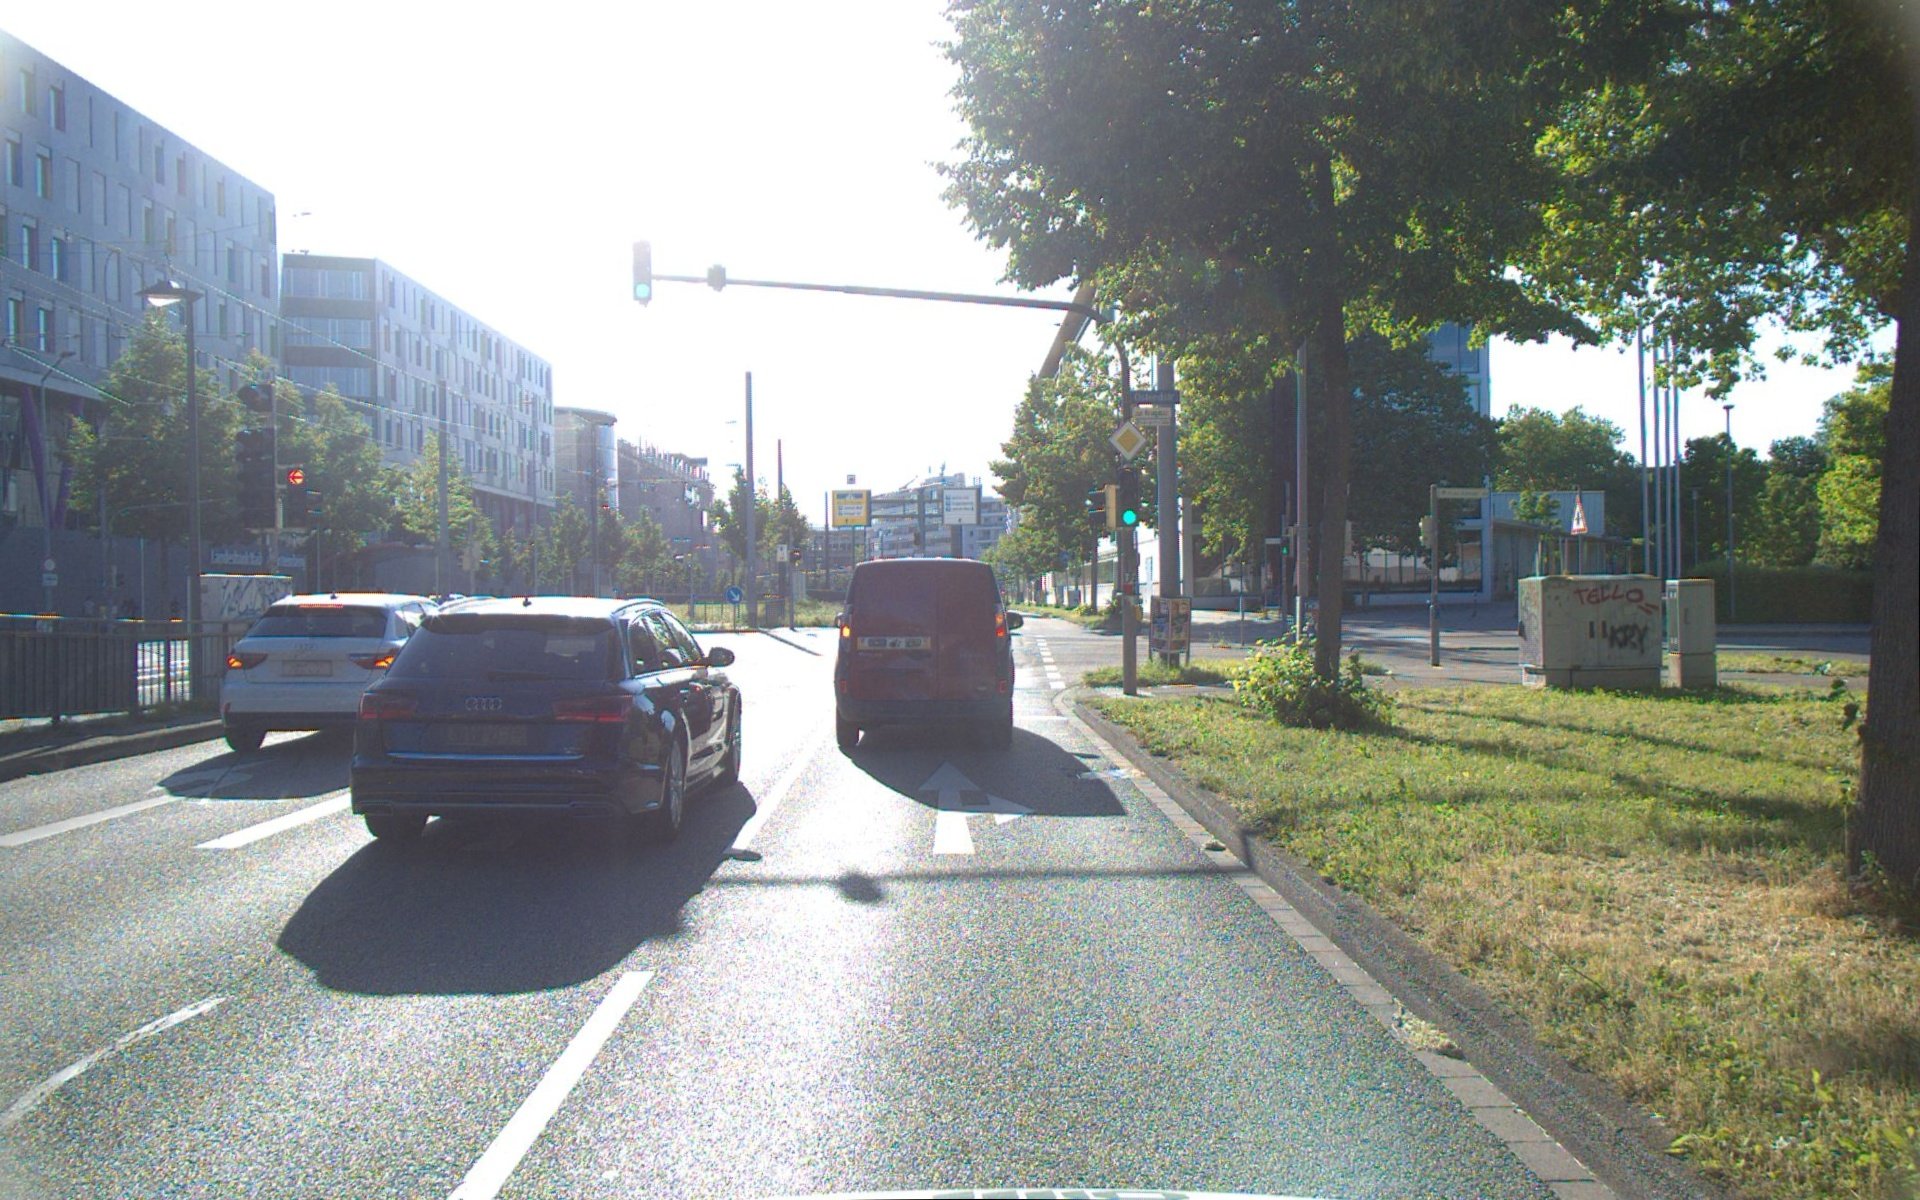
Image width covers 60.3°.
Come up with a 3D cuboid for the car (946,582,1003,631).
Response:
[{"bbox_3d":[0.450,0.186,55.962,1.815,1.573,3.999,1,0,-1],"label":"car"}]

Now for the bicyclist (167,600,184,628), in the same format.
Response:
[{"bbox_3d":[-43.606,0.785,91.895,0.547,1.522,0.763,-1,0,-1],"label":"bicyclist"}]

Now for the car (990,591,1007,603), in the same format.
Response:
[{"bbox_3d":[4.908,-0.377,211.921,1.815,1.506,4.852,-3,0,-2],"label":"car"}]

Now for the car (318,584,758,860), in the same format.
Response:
[{"bbox_3d":[-2.547,0.644,11.206,1.775,1.452,4.689,1,0,0],"label":"car"}]

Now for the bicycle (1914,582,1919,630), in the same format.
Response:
[{"bbox_3d":[25.786,0.144,42.562,2.054,1.224,0.551,-1,1,23],"label":"bicycle"}]

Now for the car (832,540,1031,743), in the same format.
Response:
[{"bbox_3d":[-0.299,0.374,17.320,1.811,1.846,4.113,1,0,-1],"label":"car"}]

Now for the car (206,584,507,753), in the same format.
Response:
[{"bbox_3d":[-5.807,0.590,16.424,1.638,1.451,4.004,1,0,-2],"label":"car"}]

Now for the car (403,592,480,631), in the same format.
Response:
[{"bbox_3d":[-22.302,0.456,71.327,1.953,1.589,4.870,-1,0,-2],"label":"car"}]

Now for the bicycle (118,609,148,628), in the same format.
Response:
[{"bbox_3d":[-39.962,0.883,79.905,0.564,0.878,1.692,-1,1,0],"label":"bicycle"}]

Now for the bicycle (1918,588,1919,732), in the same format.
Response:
[{"bbox_3d":[8.712,0.495,13.302,1.660,1.189,0.552,0,0,8],"label":"bicycle"}]

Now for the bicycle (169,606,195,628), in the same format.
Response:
[{"bbox_3d":[-43.229,0.945,91.899,0.509,1.193,1.975,-1,0,-1],"label":"bicycle"}]

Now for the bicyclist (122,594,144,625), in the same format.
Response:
[{"bbox_3d":[-39.964,0.461,79.948,0.558,1.460,0.958,-1,0,0],"label":"bicyclist"}]

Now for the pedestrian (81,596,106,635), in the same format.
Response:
[{"bbox_3d":[-42.509,0.750,81.141,0.706,1.854,0.871,-1,0,-1],"label":"pedestrian"}]
